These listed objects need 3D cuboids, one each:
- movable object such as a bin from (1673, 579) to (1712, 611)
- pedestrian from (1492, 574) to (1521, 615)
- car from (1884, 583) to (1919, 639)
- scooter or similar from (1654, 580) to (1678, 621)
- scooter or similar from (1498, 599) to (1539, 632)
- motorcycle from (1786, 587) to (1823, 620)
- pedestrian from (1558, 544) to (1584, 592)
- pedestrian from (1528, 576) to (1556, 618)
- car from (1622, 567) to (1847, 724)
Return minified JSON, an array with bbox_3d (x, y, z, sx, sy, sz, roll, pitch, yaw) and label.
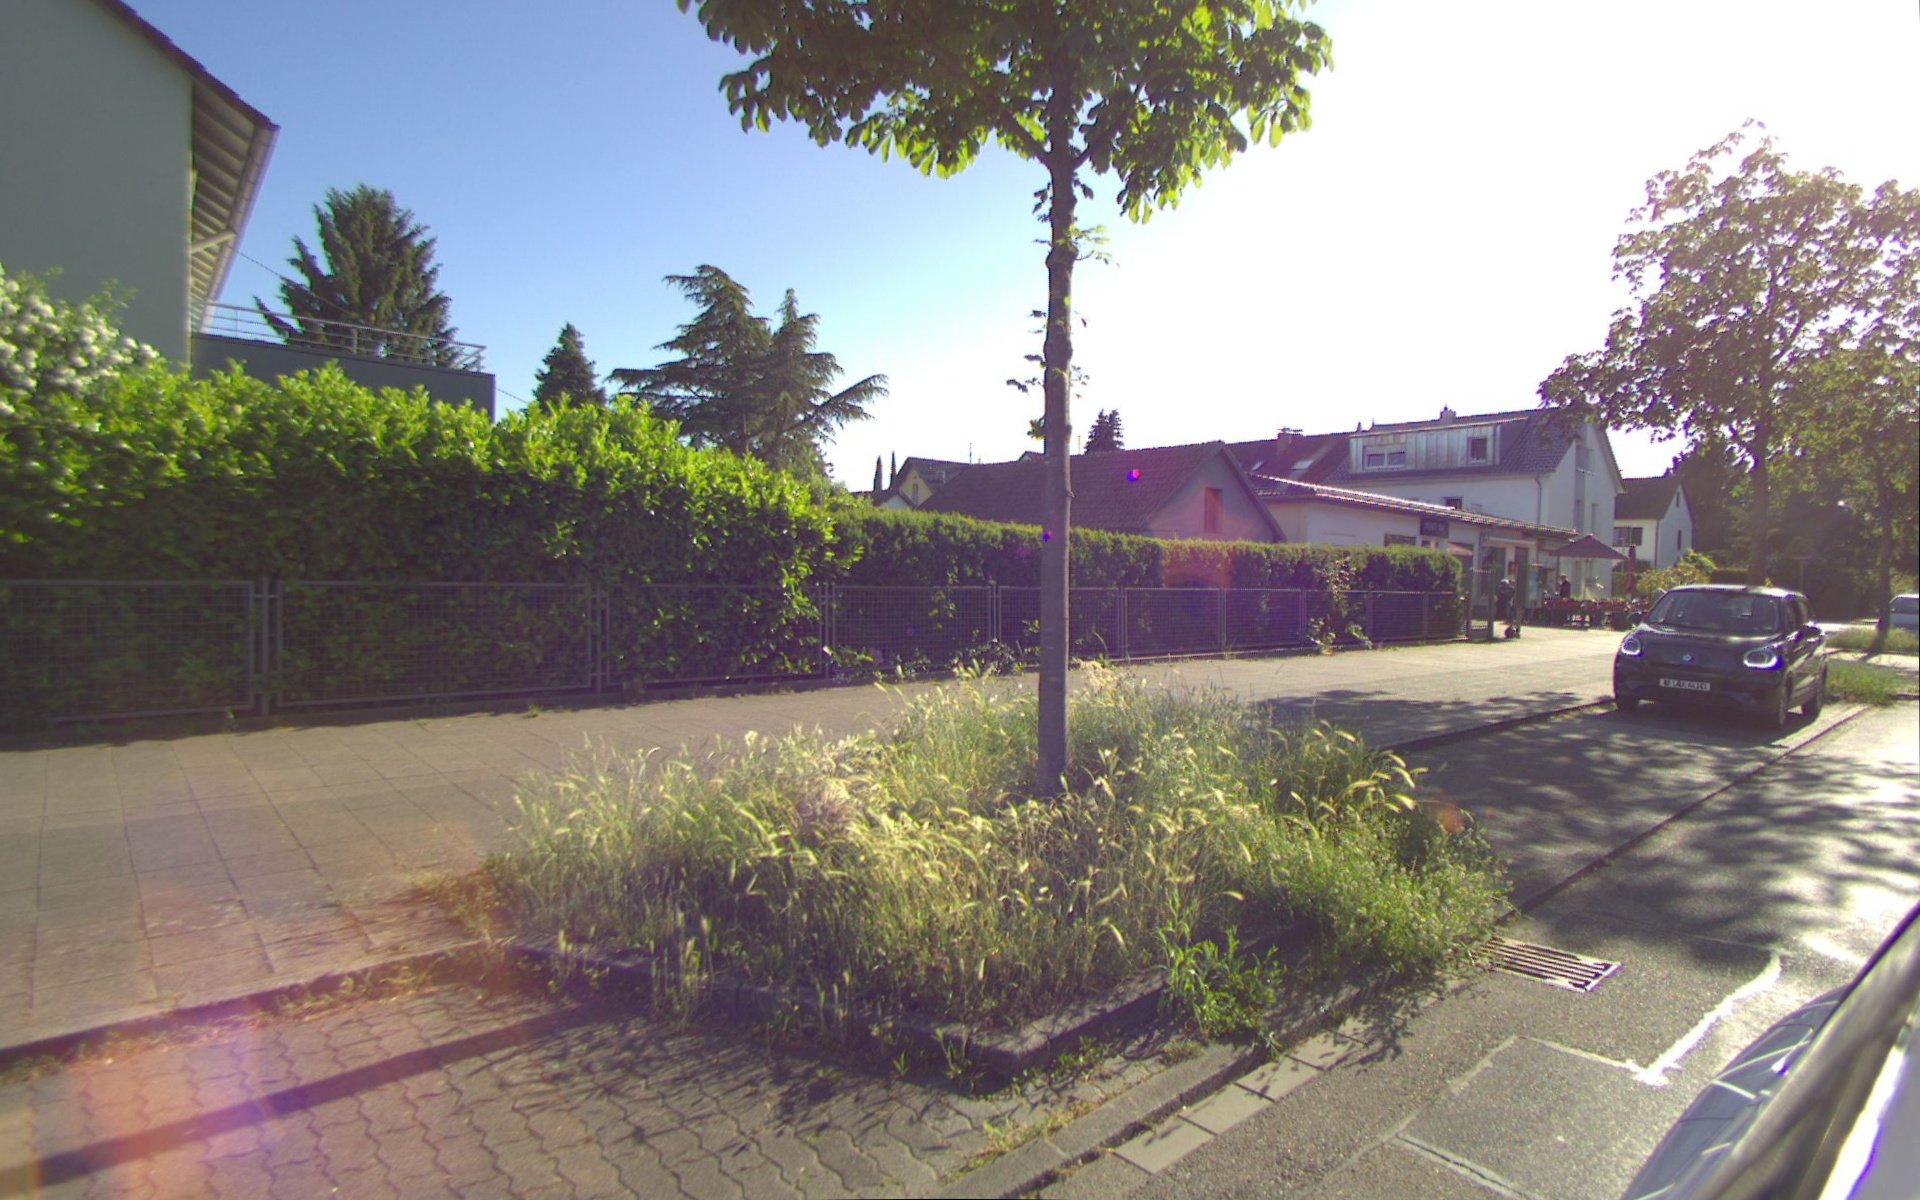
[{"bbox_3d":[31.248,-0.213,43.176,0.913,1.309,1.171,-1,3,-42],"label":"movable object such as a bin"},{"bbox_3d":[18.308,-0.197,33.911,0.564,1.338,0.640,-1,3,-41],"label":"pedestrian"},{"bbox_3d":[29.431,0.335,30.511,3.788,1.596,1.733,0,3,-39],"label":"car"},{"bbox_3d":[22.993,0.001,32.960,0.502,1.311,0.454,4,3,45],"label":"scooter or similar"},{"bbox_3d":[13.601,0.373,24.638,1.208,0.725,0.450,-1,6,-43],"label":"scooter or similar"},{"bbox_3d":[33.044,0.118,39.575,2.306,1.270,0.837,-1,1,-43],"label":"motorcycle"},{"bbox_3d":[23.664,-1.223,39.216,0.722,1.831,0.672,-1,1,-41],"label":"pedestrian"},{"bbox_3d":[19.081,-0.114,33.183,0.564,1.338,0.640,-1,1,-41],"label":"pedestrian"},{"bbox_3d":[9.482,0.448,12.300,3.539,1.593,1.496,-1,3,-42],"label":"car"}]
